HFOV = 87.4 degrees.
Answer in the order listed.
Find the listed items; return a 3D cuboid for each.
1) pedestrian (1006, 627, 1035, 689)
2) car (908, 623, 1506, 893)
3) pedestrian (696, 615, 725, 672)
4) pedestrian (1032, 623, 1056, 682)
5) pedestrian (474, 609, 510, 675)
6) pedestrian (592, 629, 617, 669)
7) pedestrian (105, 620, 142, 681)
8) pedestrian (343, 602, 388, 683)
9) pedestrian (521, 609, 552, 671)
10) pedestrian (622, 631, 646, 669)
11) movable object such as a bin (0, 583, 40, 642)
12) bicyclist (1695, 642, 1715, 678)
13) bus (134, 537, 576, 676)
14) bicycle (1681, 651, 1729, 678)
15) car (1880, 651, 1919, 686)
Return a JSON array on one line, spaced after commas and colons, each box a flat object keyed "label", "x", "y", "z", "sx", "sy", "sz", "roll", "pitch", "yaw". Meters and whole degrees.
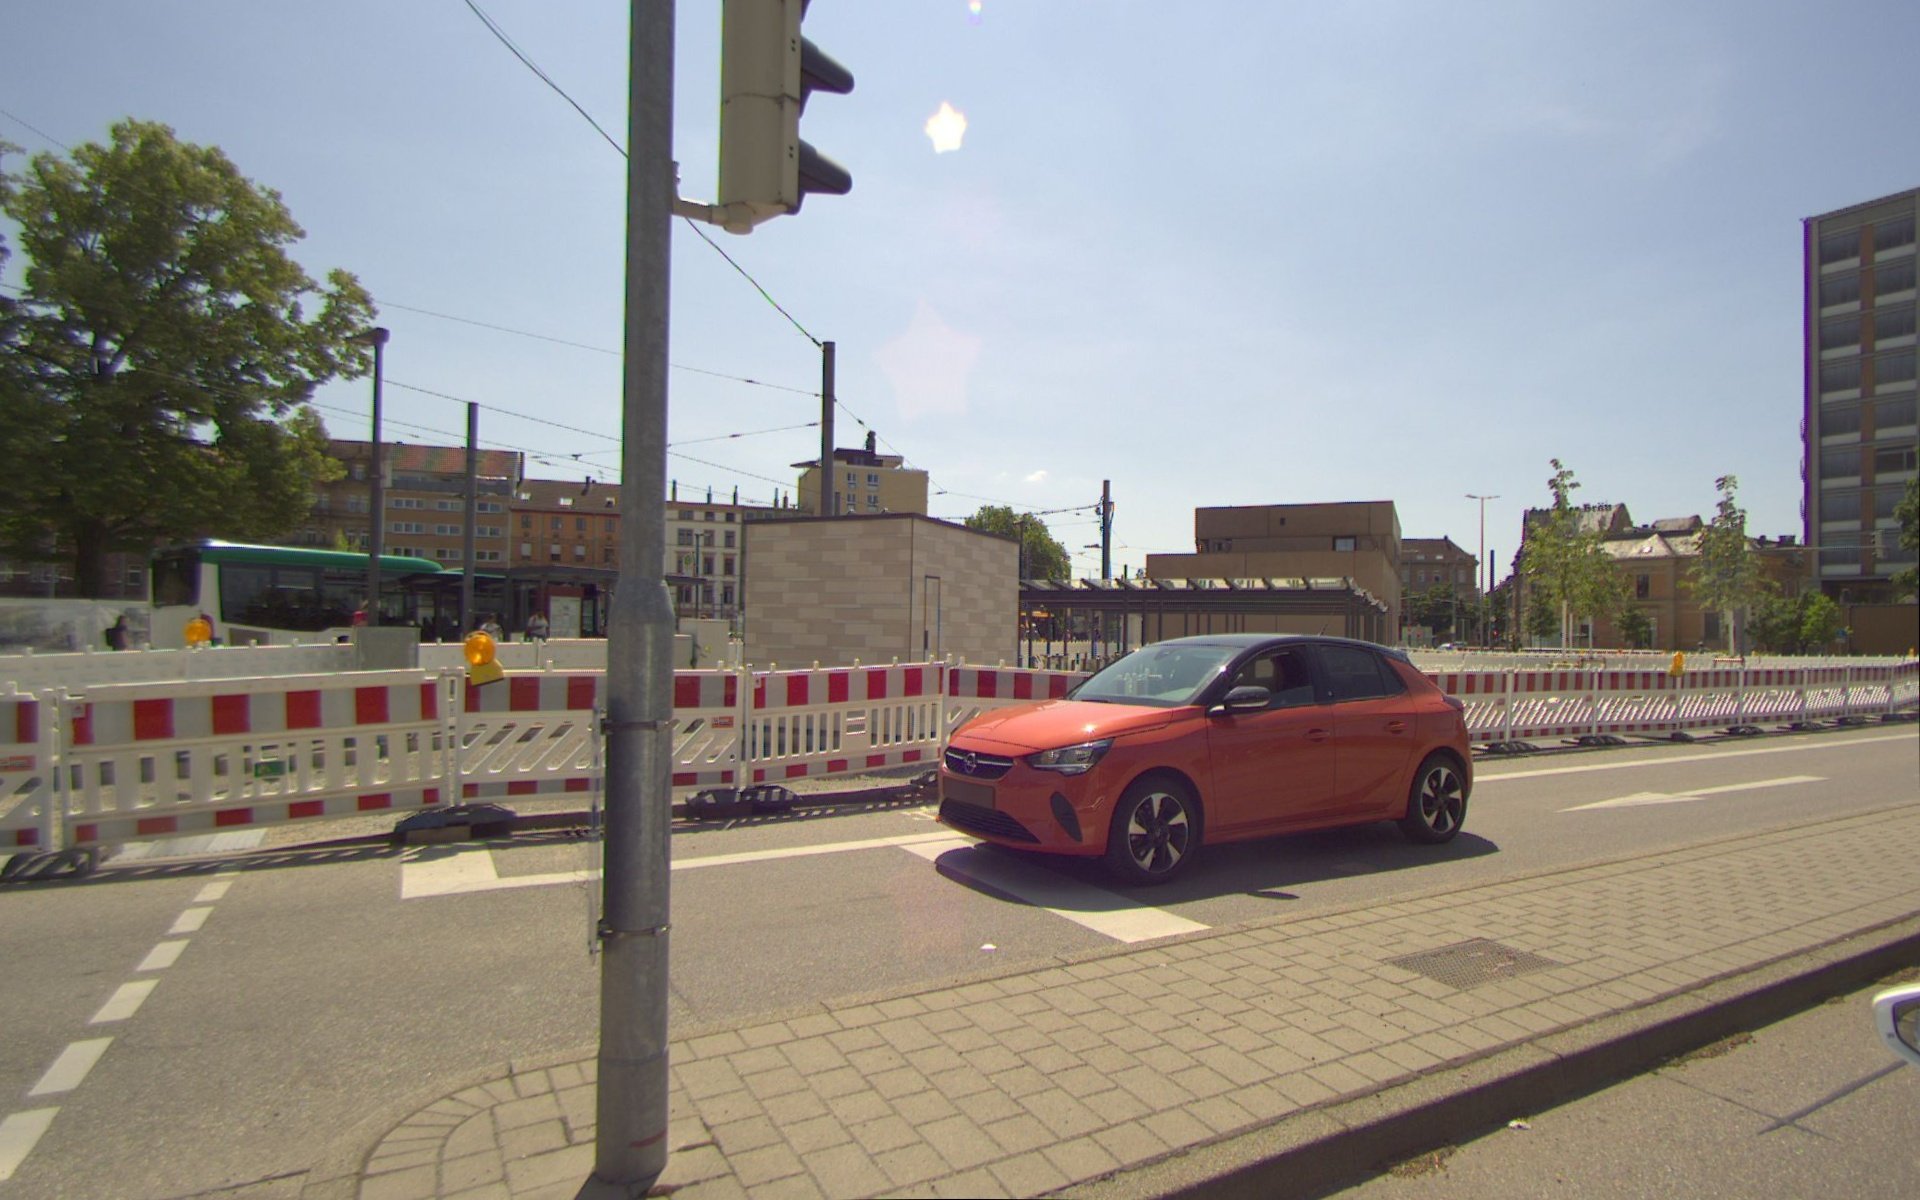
[{"label": "pedestrian", "x": 2.052, "y": 1.946, "z": 33.912, "sx": 0.747, "sy": 2.040, "sz": 0.646, "roll": 2, "pitch": 0, "yaw": 19}, {"label": "car", "x": 1.776, "y": 0.927, "z": 6.957, "sx": 3.965, "sy": 1.396, "sz": 1.681, "roll": 2, "pitch": -4, "yaw": -30}, {"label": "pedestrian", "x": -8.480, "y": 1.469, "z": 34.108, "sx": 0.685, "sy": 1.882, "sz": 0.606, "roll": 2, "pitch": 0, "yaw": 21}, {"label": "pedestrian", "x": 3.013, "y": 1.865, "z": 35.921, "sx": 0.635, "sy": 2.040, "sz": 0.646, "roll": 2, "pitch": 0, "yaw": 18}, {"label": "pedestrian", "x": -12.172, "y": 1.081, "z": 26.129, "sx": 0.614, "sy": 1.677, "sz": 0.547, "roll": 2, "pitch": 0, "yaw": 21}, {"label": "pedestrian", "x": -10.540, "y": 1.449, "z": 29.784, "sx": 0.505, "sy": 1.137, "sz": 0.430, "roll": 2, "pitch": 0, "yaw": 21}, {"label": "pedestrian", "x": -21.960, "y": 1.314, "z": 26.372, "sx": 0.540, "sy": 1.562, "sz": 0.481, "roll": 2, "pitch": 0, "yaw": 7}, {"label": "pedestrian", "x": -12.813, "y": 0.906, "z": 21.669, "sx": 0.569, "sy": 1.724, "sz": 0.566, "roll": 2, "pitch": 0, "yaw": 7}, {"label": "pedestrian", "x": -11.569, "y": 1.079, "z": 27.424, "sx": 0.527, "sy": 1.642, "sz": 0.520, "roll": 2, "pitch": 0, "yaw": 21}, {"label": "pedestrian", "x": -9.994, "y": 1.531, "z": 30.804, "sx": 0.505, "sy": 1.137, "sz": 0.430, "roll": 2, "pitch": 0, "yaw": 21}, {"label": "movable object such as a bin", "x": -59.421, "y": 0.635, "z": 58.814, "sx": 7.911, "sy": 3.434, "sz": 2.875, "roll": 2, "pitch": 0, "yaw": -40}, {"label": "bicyclist", "x": 33.845, "y": 2.719, "z": 45.625, "sx": 0.522, "sy": 1.600, "sz": 0.497, "roll": 2, "pitch": -3, "yaw": -12}, {"label": "bus", "x": -15.902, "y": 0.201, "z": 27.874, "sx": 2.802, "sy": 3.094, "sz": 10.591, "roll": 2, "pitch": 0, "yaw": 27}, {"label": "bicycle", "x": 33.830, "y": 2.923, "z": 45.634, "sx": 0.515, "sy": 1.196, "sz": 1.894, "roll": 2, "pitch": -3, "yaw": -12}, {"label": "car", "x": 47.056, "y": 3.384, "z": 48.372, "sx": 1.593, "sy": 1.572, "sz": 3.760, "roll": 2, "pitch": 0, "yaw": -17}]
